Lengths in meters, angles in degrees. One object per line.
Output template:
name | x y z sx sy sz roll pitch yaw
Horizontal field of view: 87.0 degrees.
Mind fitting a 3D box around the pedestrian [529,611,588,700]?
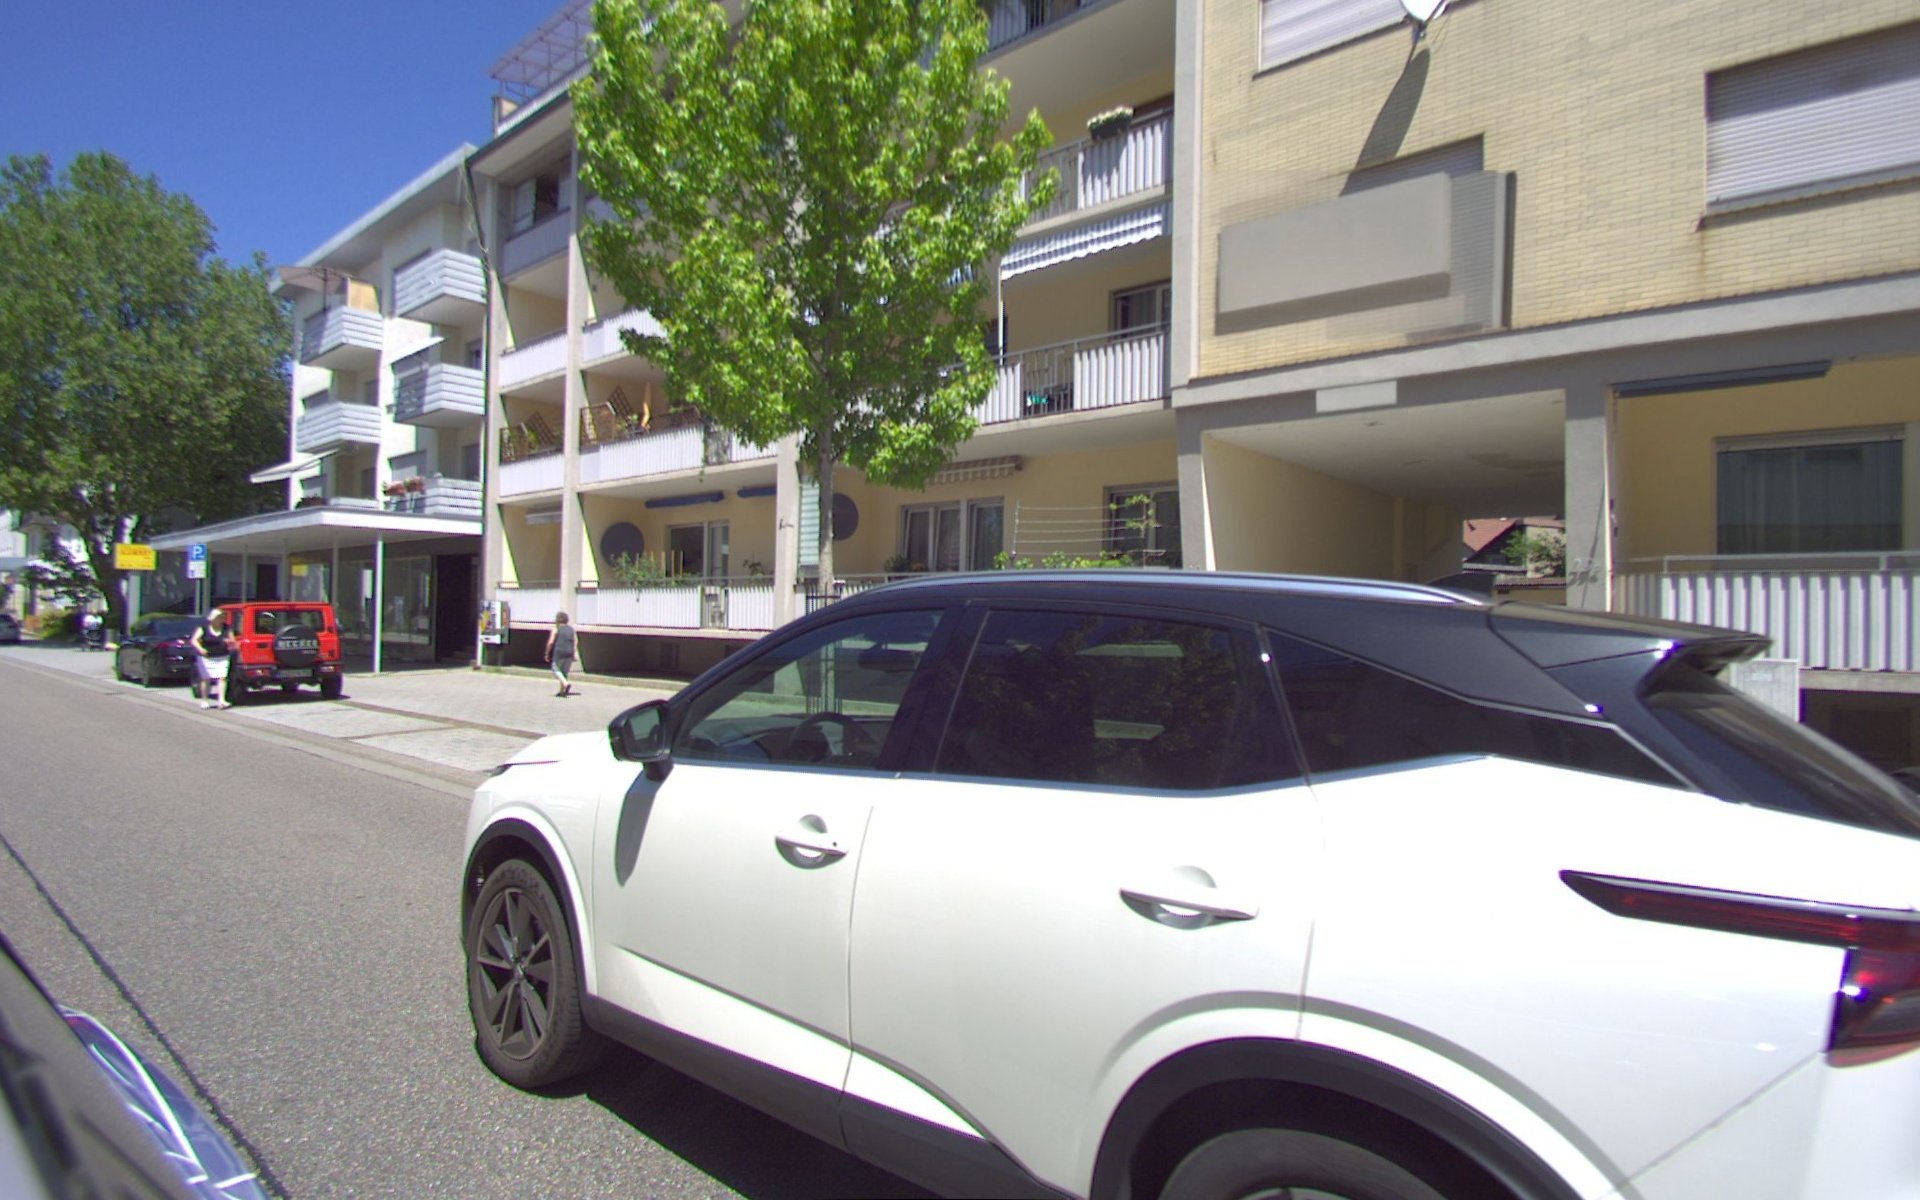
pedestrian | -7.032 0.953 17.726 0.766 1.510 0.698 2 -3 -37

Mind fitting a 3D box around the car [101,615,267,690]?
car | -16.893 1.070 21.980 3.995 1.475 1.974 -1 -1 39

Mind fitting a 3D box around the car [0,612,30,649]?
car | -41.300 1.279 43.160 3.999 1.519 1.972 -1 -2 42

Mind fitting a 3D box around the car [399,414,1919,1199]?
car | 0.144 0.691 2.947 4.298 1.645 1.752 -1 -3 42

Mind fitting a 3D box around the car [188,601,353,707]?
car | -12.142 0.877 17.762 3.369 1.674 1.623 -1 0 42

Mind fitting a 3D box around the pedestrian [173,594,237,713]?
pedestrian | -11.925 0.833 15.989 0.668 1.818 0.676 -2 -3 44

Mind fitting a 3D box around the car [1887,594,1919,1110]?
car | 5.123 0.754 2.360 4.298 1.604 1.677 -1 -1 42

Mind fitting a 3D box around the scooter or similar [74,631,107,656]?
scooter or similar | -32.871 1.626 38.276 0.737 0.932 0.635 0 -2 18

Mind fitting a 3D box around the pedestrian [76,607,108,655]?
pedestrian | -33.424 1.192 38.970 0.737 1.806 0.635 0 -2 18
